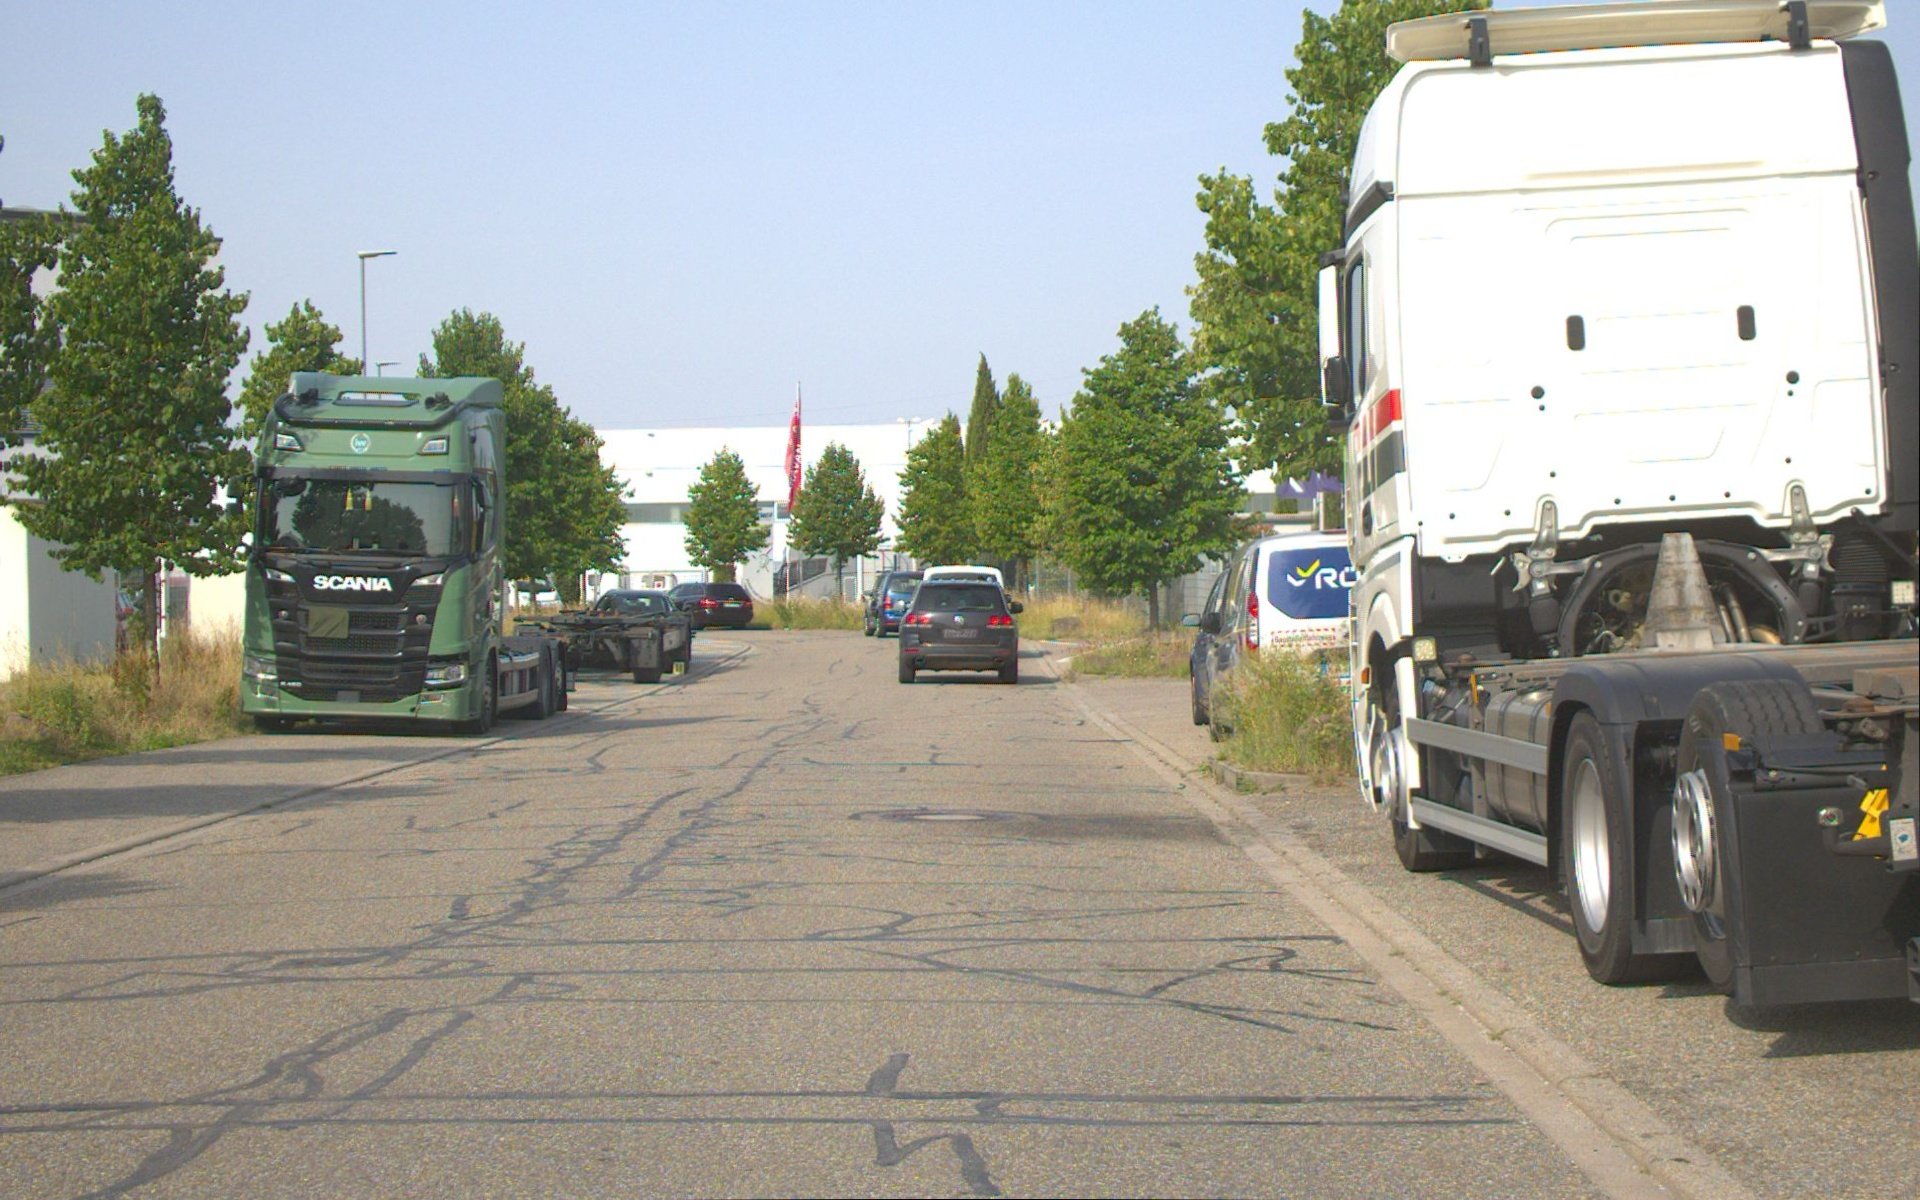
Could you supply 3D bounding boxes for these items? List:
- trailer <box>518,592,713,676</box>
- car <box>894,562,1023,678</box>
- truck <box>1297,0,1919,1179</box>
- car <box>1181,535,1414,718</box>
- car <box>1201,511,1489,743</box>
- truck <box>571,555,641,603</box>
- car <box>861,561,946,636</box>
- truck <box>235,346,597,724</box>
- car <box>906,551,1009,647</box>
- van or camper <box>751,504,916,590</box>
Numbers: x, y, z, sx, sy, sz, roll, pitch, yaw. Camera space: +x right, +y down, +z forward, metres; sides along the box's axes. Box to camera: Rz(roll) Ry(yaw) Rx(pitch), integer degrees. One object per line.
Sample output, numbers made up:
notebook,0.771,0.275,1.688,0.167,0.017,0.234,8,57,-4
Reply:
trailer,-5.861,0.546,59.437,2.130,1.228,7.156,1,1,4
car,-0.024,0.291,55.935,1.993,1.798,4.000,1,1,0
truck,3.248,-0.770,12.906,2.745,4.001,9.687,-3,1,-1
car,3.308,0.261,34.416,1.825,1.714,4.249,0,0,-1
car,3.151,0.222,28.988,1.993,1.783,4.599,0,0,1
truck,-17.144,-1.047,166.829,2.450,2.257,8.002,0,1,1
car,-1.372,-0.057,85.259,1.993,1.798,4.000,1,1,0
truck,-6.161,-0.664,40.543,2.455,3.868,9.802,1,0,1
car,-0.094,-0.037,70.566,1.993,1.893,4.467,-1,1,-1
van or camper,-4.361,-1.762,116.860,2.349,2.838,7.342,0,0,-31
